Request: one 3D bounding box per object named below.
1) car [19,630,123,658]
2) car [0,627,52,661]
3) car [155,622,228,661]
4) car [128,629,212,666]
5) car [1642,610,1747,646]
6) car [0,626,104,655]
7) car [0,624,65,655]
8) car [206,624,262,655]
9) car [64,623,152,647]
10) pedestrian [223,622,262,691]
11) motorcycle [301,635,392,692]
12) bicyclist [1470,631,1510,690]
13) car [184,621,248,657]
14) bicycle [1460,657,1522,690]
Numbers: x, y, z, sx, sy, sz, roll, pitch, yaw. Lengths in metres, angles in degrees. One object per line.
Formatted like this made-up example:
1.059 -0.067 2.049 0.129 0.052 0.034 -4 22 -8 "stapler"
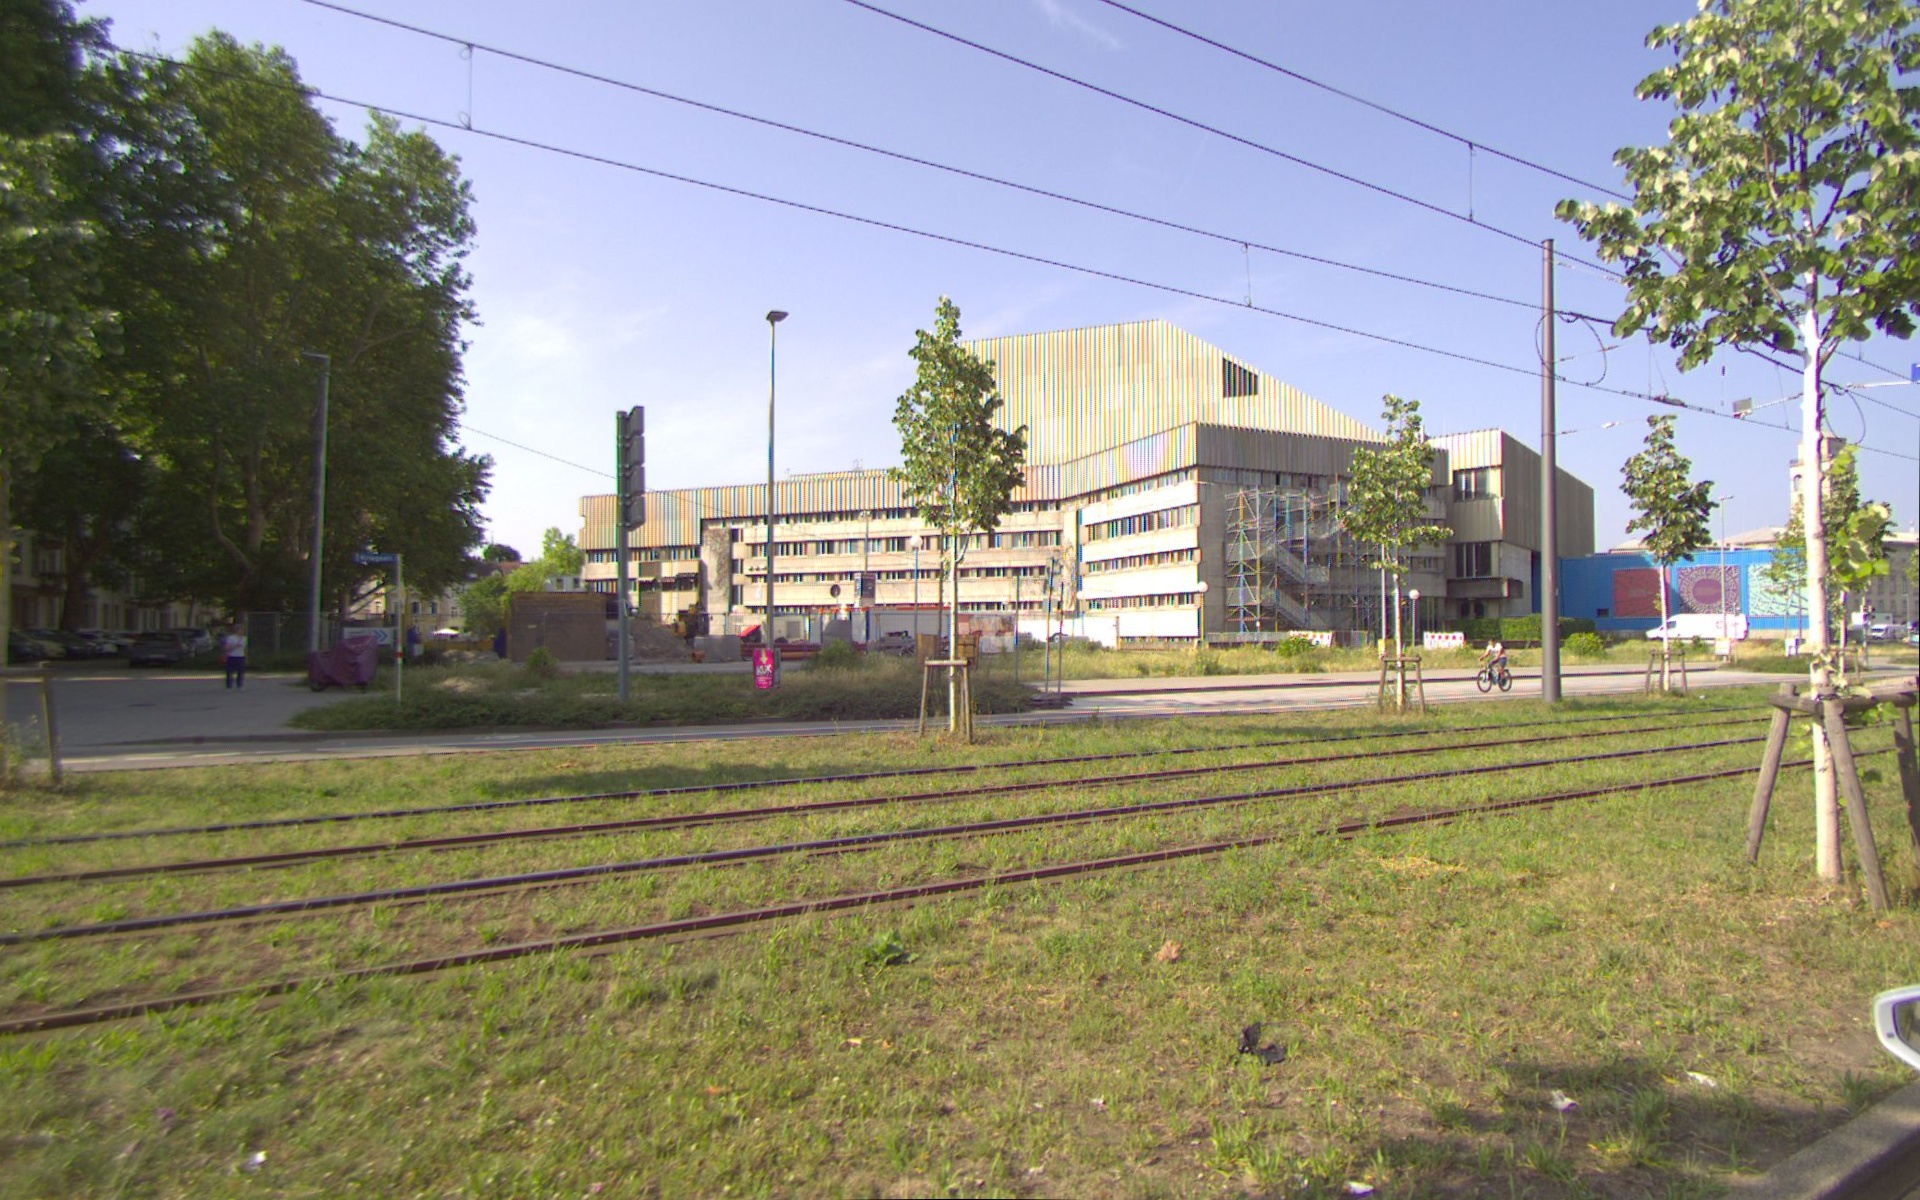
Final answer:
-49.349 2.433 55.869 3.953 1.483 1.984 1 -2 -31 "car"
-42.582 1.917 43.904 3.953 1.483 1.861 1 -2 -31 "car"
-33.575 1.780 43.970 1.976 1.628 3.969 1 -2 -30 "car"
-31.093 1.845 39.657 1.976 1.394 3.969 1 -2 -30 "car"
60.091 2.234 82.258 6.793 2.674 2.503 2 0 40 "car"
-47.957 2.134 52.956 3.953 1.483 1.984 1 -2 -31 "car"
-44.789 1.843 47.031 3.953 1.394 1.886 1 -2 -31 "car"
-38.547 2.084 53.418 1.976 1.628 3.969 1 -2 -30 "car"
-54.057 2.219 63.842 3.953 1.483 1.984 1 -2 -31 "car"
-18.026 1.416 25.234 0.727 1.699 0.673 -1 -2 44 "pedestrian"
-15.722 1.603 25.739 2.253 1.387 0.818 -1 -2 24 "motorcycle"
16.132 1.852 30.585 0.908 1.758 0.644 2 -4 -30 "bicyclist"
-36.053 1.880 48.757 1.976 1.628 3.969 1 -2 -30 "car"
16.166 2.240 30.574 2.054 0.973 0.659 2 -4 -30 "bicycle"
